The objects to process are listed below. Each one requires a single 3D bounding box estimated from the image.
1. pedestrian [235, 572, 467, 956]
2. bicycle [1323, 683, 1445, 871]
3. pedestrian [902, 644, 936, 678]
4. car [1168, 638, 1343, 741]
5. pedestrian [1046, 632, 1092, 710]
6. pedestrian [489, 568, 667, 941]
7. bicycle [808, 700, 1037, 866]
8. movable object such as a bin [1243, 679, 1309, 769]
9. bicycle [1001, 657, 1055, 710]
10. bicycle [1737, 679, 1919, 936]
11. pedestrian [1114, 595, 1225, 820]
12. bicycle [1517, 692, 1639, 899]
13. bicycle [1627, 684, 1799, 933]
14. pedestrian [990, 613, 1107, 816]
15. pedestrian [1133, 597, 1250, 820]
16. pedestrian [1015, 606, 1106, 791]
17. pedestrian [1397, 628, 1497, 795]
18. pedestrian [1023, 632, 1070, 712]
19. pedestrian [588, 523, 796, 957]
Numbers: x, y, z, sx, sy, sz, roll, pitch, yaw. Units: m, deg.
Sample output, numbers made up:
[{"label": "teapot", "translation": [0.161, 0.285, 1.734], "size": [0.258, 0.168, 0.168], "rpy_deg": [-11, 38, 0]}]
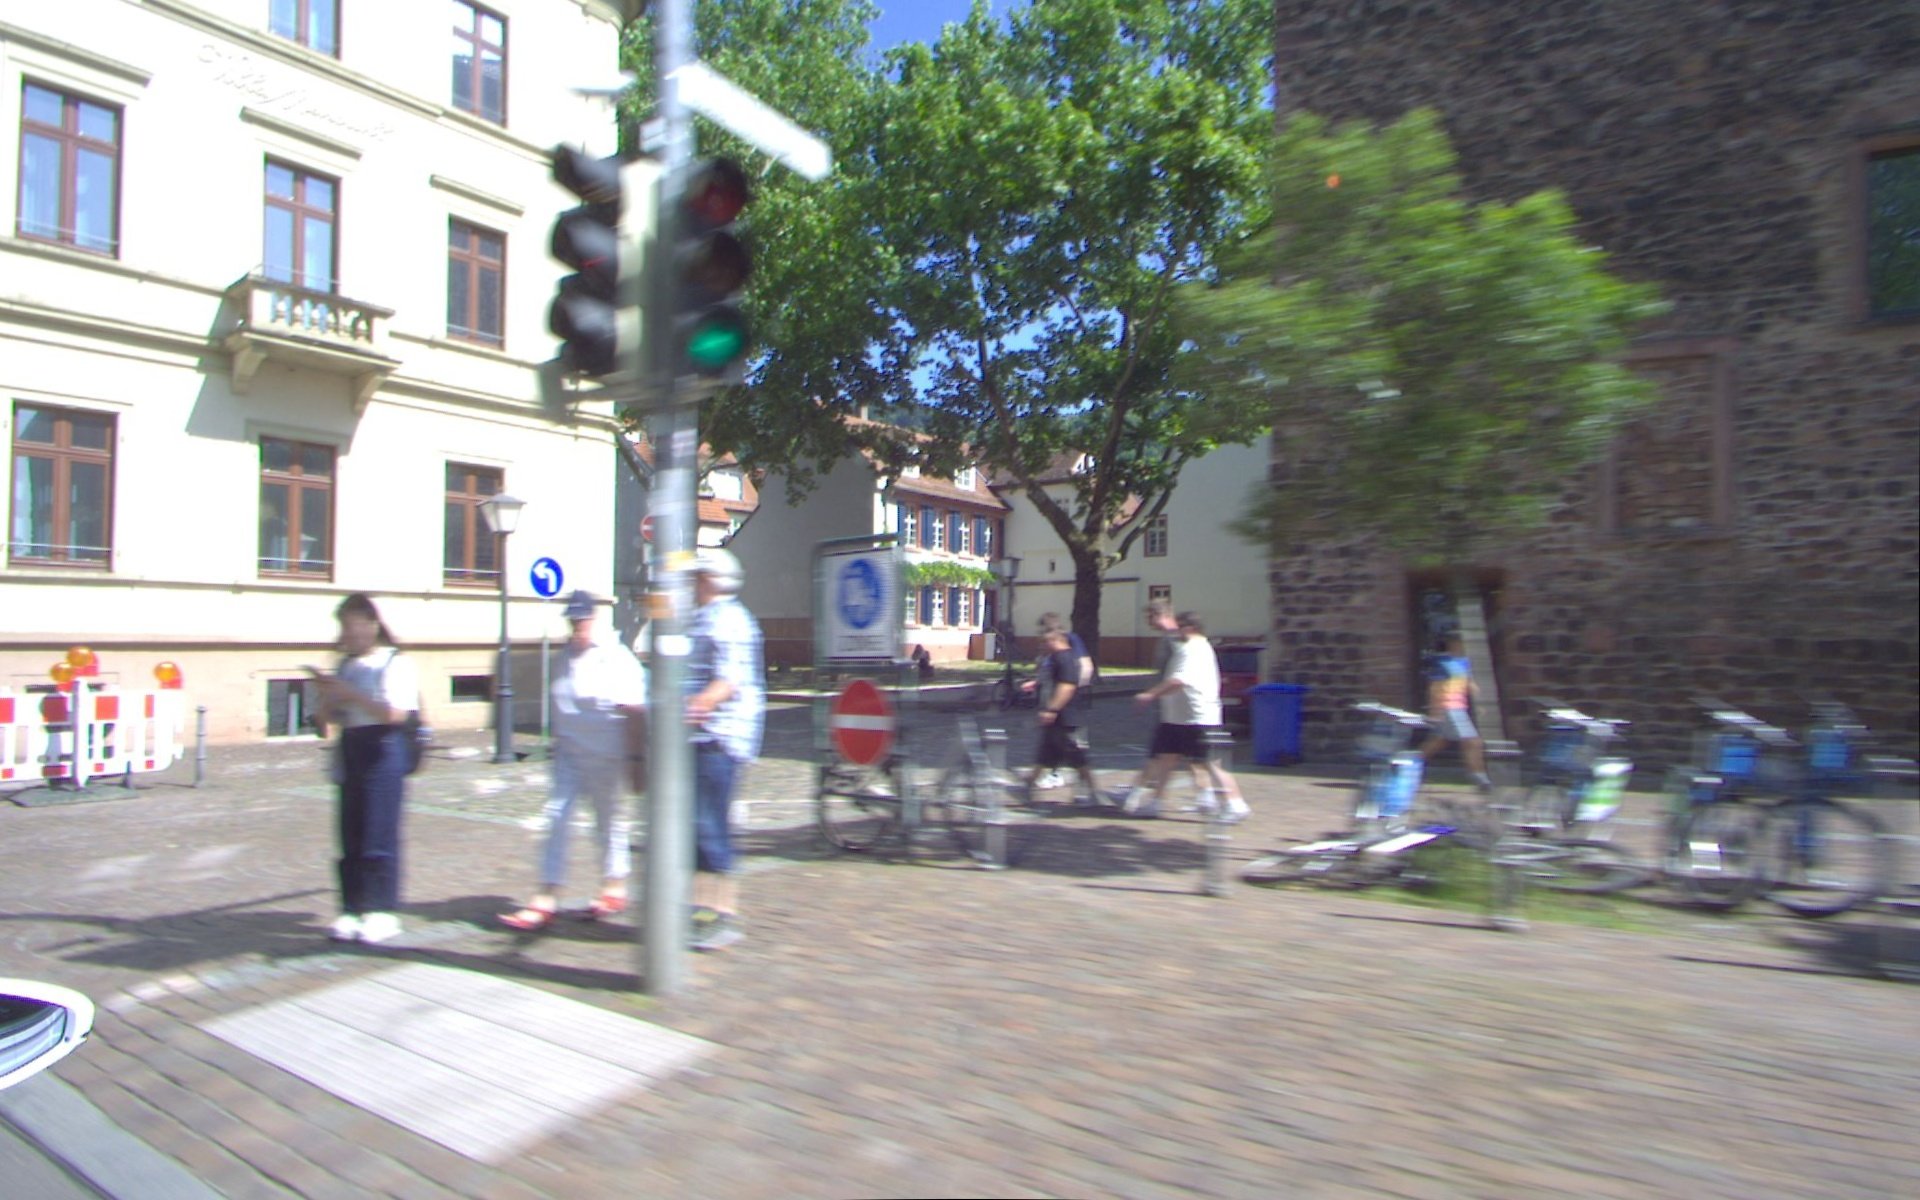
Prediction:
[{"label": "pedestrian", "translation": [-2.978, 0.744, 4.925], "size": [0.672, 1.696, 0.714], "rpy_deg": [-1, -2, 31]}, {"label": "bicycle", "translation": [3.039, 1.164, 7.088], "size": [0.554, 1.124, 1.792], "rpy_deg": [1, -3, 30]}, {"label": "pedestrian", "translation": [-1.443, 2.141, 35.214], "size": [0.972, 1.162, 0.811], "rpy_deg": [1, -2, -25]}, {"label": "car", "translation": [5.734, 1.616, 19.102], "size": [1.914, 1.722, 4.150], "rpy_deg": [-1, -3, 36]}, {"label": "pedestrian", "translation": [2.694, 1.734, 24.715], "size": [0.795, 1.875, 0.860], "rpy_deg": [-1, -2, 39]}, {"label": "pedestrian", "translation": [-1.930, 0.733, 5.075], "size": [0.656, 1.733, 0.526], "rpy_deg": [-1, -2, 31]}, {"label": "bicycle", "translation": [-0.289, 1.211, 6.876], "size": [1.559, 1.015, 0.507], "rpy_deg": [-5, -5, 34]}, {"label": "movable object such as a bin", "translation": [4.213, 1.631, 13.347], "size": [0.740, 1.138, 0.489], "rpy_deg": [-1, -2, 32]}, {"label": "bicycle", "translation": [1.670, 2.024, 24.431], "size": [0.317, 1.224, 1.809], "rpy_deg": [-1, -2, 39]}, {"label": "bicycle", "translation": [5.009, 1.076, 5.797], "size": [0.519, 1.213, 2.079], "rpy_deg": [1, -3, 30]}, {"label": "pedestrian", "translation": [1.911, 0.965, 9.226], "size": [0.922, 1.985, 0.656], "rpy_deg": [0, -2, 6]}, {"label": "bicycle", "translation": [4.055, 1.195, 6.624], "size": [0.599, 1.124, 1.792], "rpy_deg": [1, -3, 30]}, {"label": "bicycle", "translation": [4.500, 1.138, 6.103], "size": [0.599, 1.213, 2.078], "rpy_deg": [1, -3, 30]}, {"label": "pedestrian", "translation": [0.804, 1.038, 9.372], "size": [0.909, 1.787, 0.990], "rpy_deg": [1, -2, -7]}, {"label": "pedestrian", "translation": [1.934, 0.887, 8.485], "size": [0.891, 1.775, 0.805], "rpy_deg": [0, -2, 8]}, {"label": "pedestrian", "translation": [1.102, 1.070, 11.129], "size": [0.776, 1.966, 0.804], "rpy_deg": [1, -2, -14]}, {"label": "pedestrian", "translation": [5.498, 1.219, 11.289], "size": [0.946, 1.782, 0.757], "rpy_deg": [-1, -2, 31]}, {"label": "pedestrian", "translation": [2.072, 1.707, 23.937], "size": [0.795, 1.875, 0.860], "rpy_deg": [-1, -2, 39]}, {"label": "pedestrian", "translation": [-1.273, 0.623, 4.797], "size": [0.720, 1.875, 0.615], "rpy_deg": [-1, -2, 32]}]
